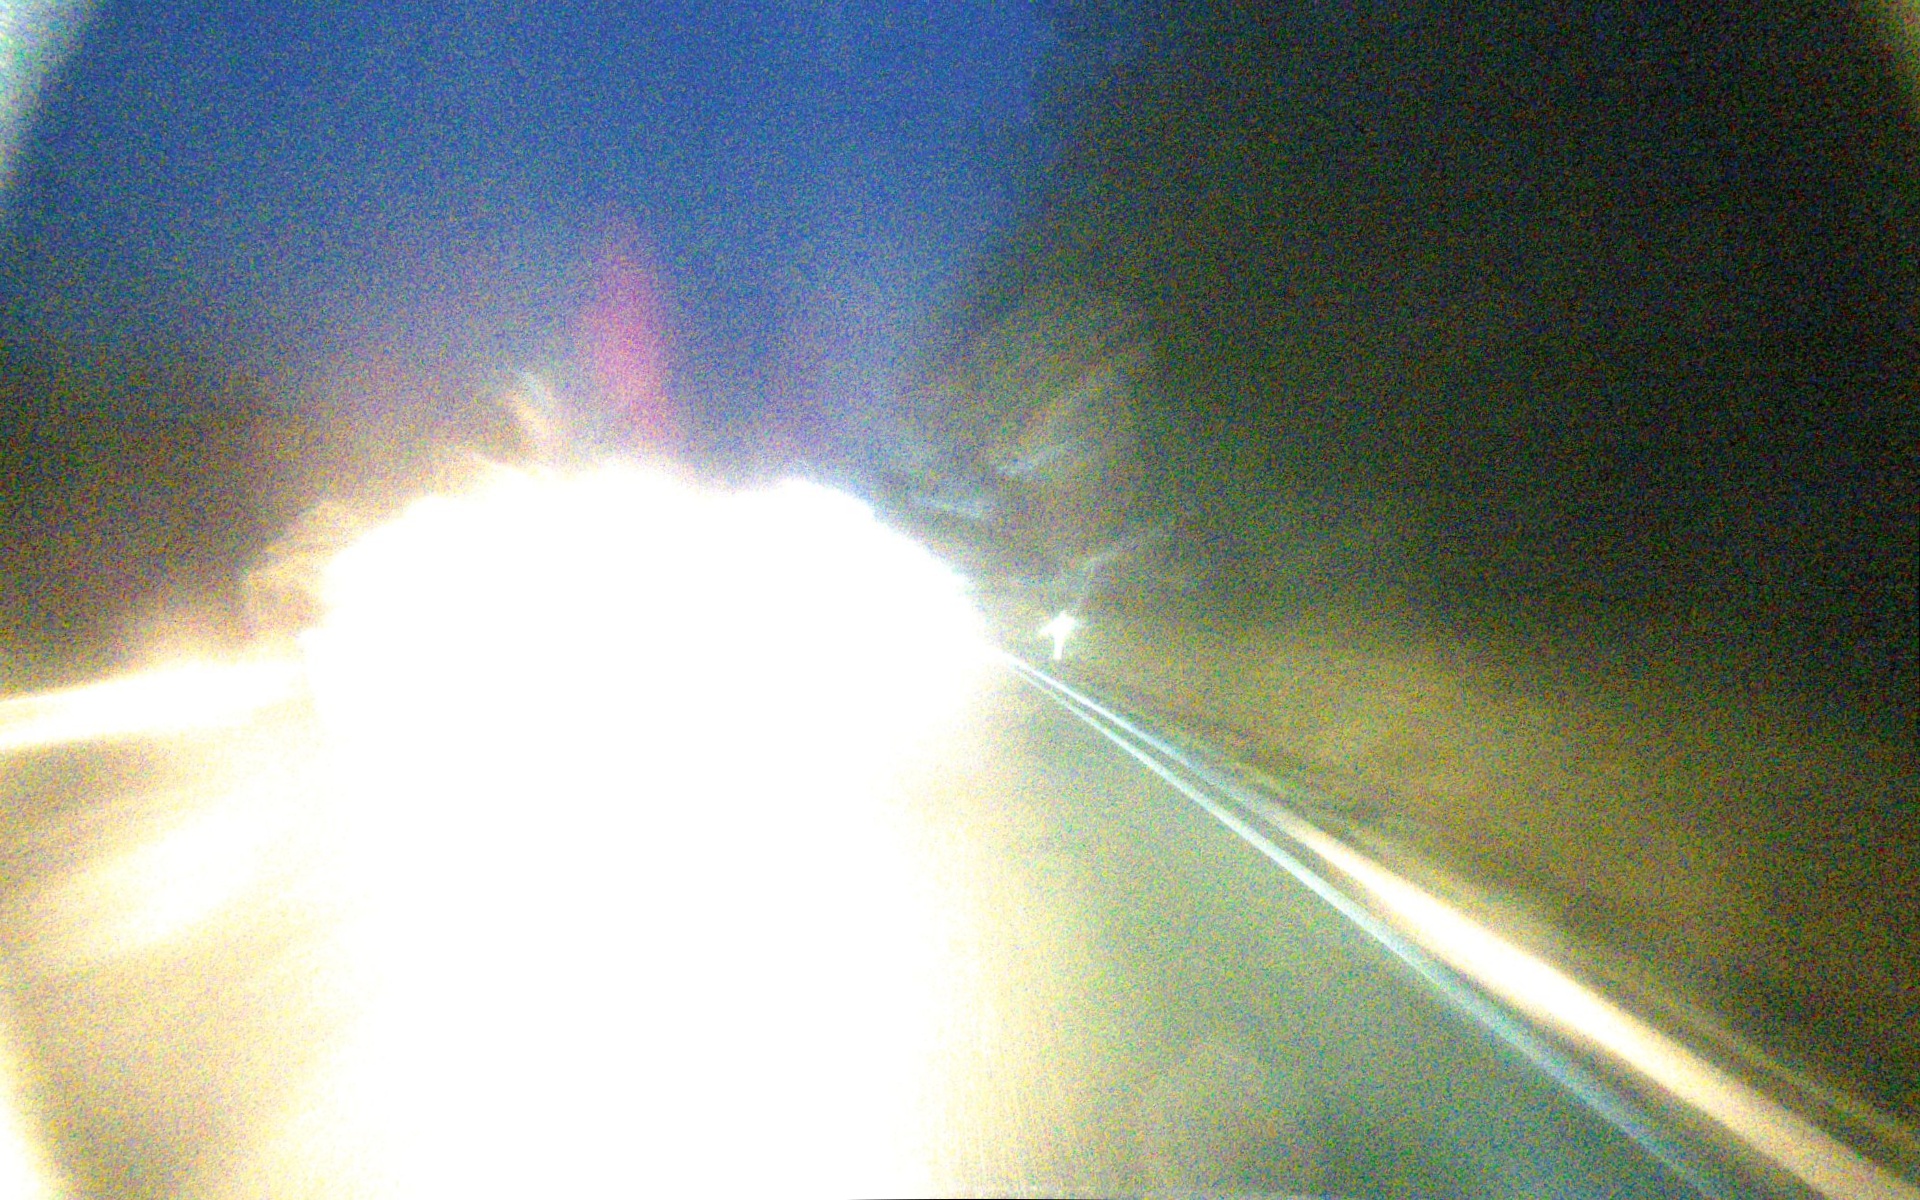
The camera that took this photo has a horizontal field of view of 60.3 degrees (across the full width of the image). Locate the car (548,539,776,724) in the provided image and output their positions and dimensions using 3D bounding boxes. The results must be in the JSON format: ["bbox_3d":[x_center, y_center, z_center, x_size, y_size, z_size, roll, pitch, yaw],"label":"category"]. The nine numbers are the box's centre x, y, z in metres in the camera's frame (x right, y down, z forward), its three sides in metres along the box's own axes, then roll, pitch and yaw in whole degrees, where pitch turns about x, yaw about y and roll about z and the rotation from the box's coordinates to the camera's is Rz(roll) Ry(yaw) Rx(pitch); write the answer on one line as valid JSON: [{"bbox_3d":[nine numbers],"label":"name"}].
[{"bbox_3d":[-3.292,0.328,19.063,1.953,1.854,3.999,2,0,-2],"label":"car"}]

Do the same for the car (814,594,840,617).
[{"bbox_3d":[-9.569,0.373,119.149,1.793,1.595,3.777,2,0,-4],"label":"car"}]
